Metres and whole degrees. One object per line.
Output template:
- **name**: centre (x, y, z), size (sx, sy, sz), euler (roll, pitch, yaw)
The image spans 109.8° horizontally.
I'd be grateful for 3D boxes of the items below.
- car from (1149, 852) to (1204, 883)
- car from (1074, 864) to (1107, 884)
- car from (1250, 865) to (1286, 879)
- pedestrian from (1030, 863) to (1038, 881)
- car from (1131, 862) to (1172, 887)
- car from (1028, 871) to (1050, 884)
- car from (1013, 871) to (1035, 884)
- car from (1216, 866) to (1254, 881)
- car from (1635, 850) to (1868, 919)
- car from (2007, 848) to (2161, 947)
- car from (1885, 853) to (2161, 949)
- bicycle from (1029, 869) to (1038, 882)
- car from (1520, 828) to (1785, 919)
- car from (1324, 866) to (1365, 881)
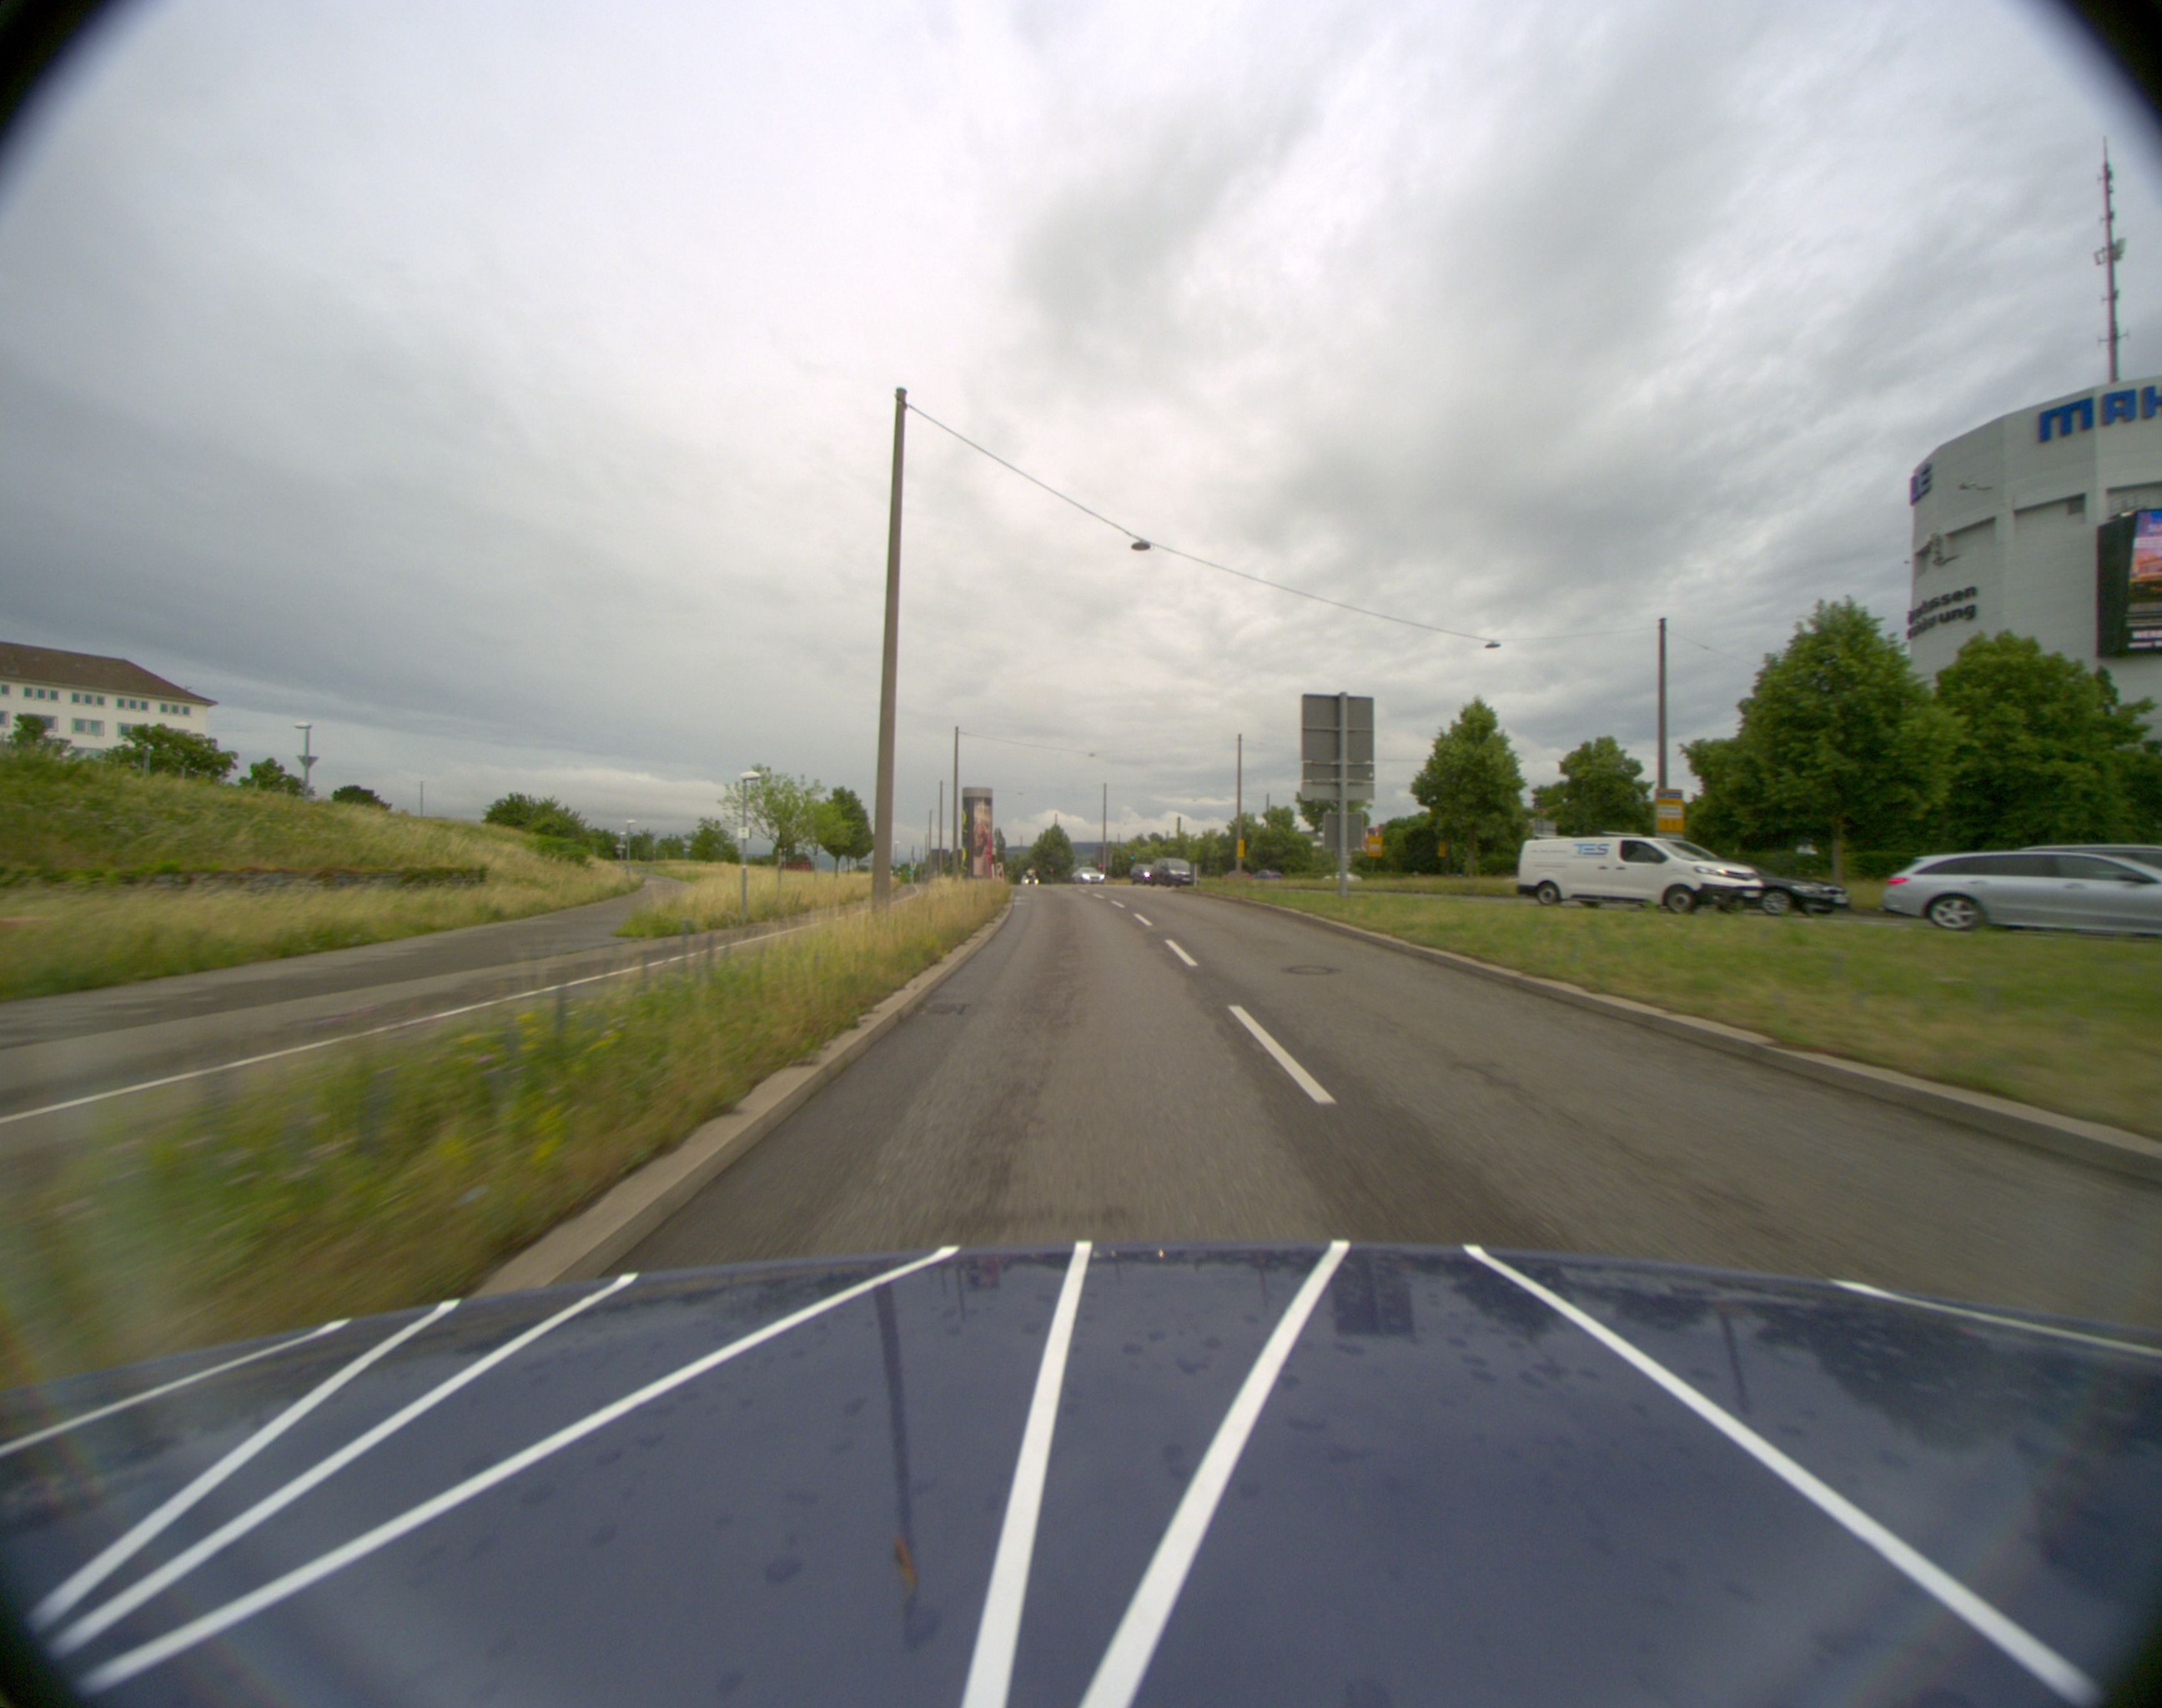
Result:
- **car**: centre (5.158, 0.749, 41.529), size (1.802, 1.556, 4.041), euler (-2, -1, -10)
- **car**: centre (0.753, 1.655, 62.488), size (2.000, 1.399, 4.524), euler (-2, -3, -8)
- **car**: centre (19.834, 1.933, 80.655), size (1.884, 1.433, 3.976), euler (0, -1, -17)
- **pedestrian**: centre (-4.331, 1.662, 69.610), size (0.635, 1.560, 0.895), euler (0, -3, -11)
- **car**: centre (5.528, 1.626, 60.315), size (2.001, 1.849, 3.997), euler (0, -3, -14)
- **car**: centre (-6.063, 3.421, 108.724), size (2.001, 1.632, 4.624), euler (-2, -3, -17)
- **car**: centre (-8.161, 3.354, 108.033), size (2.001, 1.632, 4.624), euler (-2, -3, -18)
- **car**: centre (15.961, 2.003, 78.969), size (1.917, 1.522, 3.993), euler (0, -1, -23)
- **car**: centre (16.858, 0.710, 19.340), size (1.913, 1.554, 3.991), euler (2, -1, -26)
- **car**: centre (19.740, 0.736, 13.301), size (1.846, 1.671, 4.065), euler (-3, -1, -22)
- **car**: centre (16.601, 0.736, 12.322), size (1.846, 1.426, 4.513), euler (2, -1, -22)
- **bicycle**: centre (-4.371, 1.986, 69.803), size (0.635, 1.098, 1.752), euler (0, -2, -11)
- **car**: centre (13.951, 0.448, 19.033), size (1.912, 1.961, 5.084), euler (1, -1, -19)
- **car**: centre (25.321, 1.861, 73.006), size (1.668, 1.383, 3.975), euler (0, -1, -18)
